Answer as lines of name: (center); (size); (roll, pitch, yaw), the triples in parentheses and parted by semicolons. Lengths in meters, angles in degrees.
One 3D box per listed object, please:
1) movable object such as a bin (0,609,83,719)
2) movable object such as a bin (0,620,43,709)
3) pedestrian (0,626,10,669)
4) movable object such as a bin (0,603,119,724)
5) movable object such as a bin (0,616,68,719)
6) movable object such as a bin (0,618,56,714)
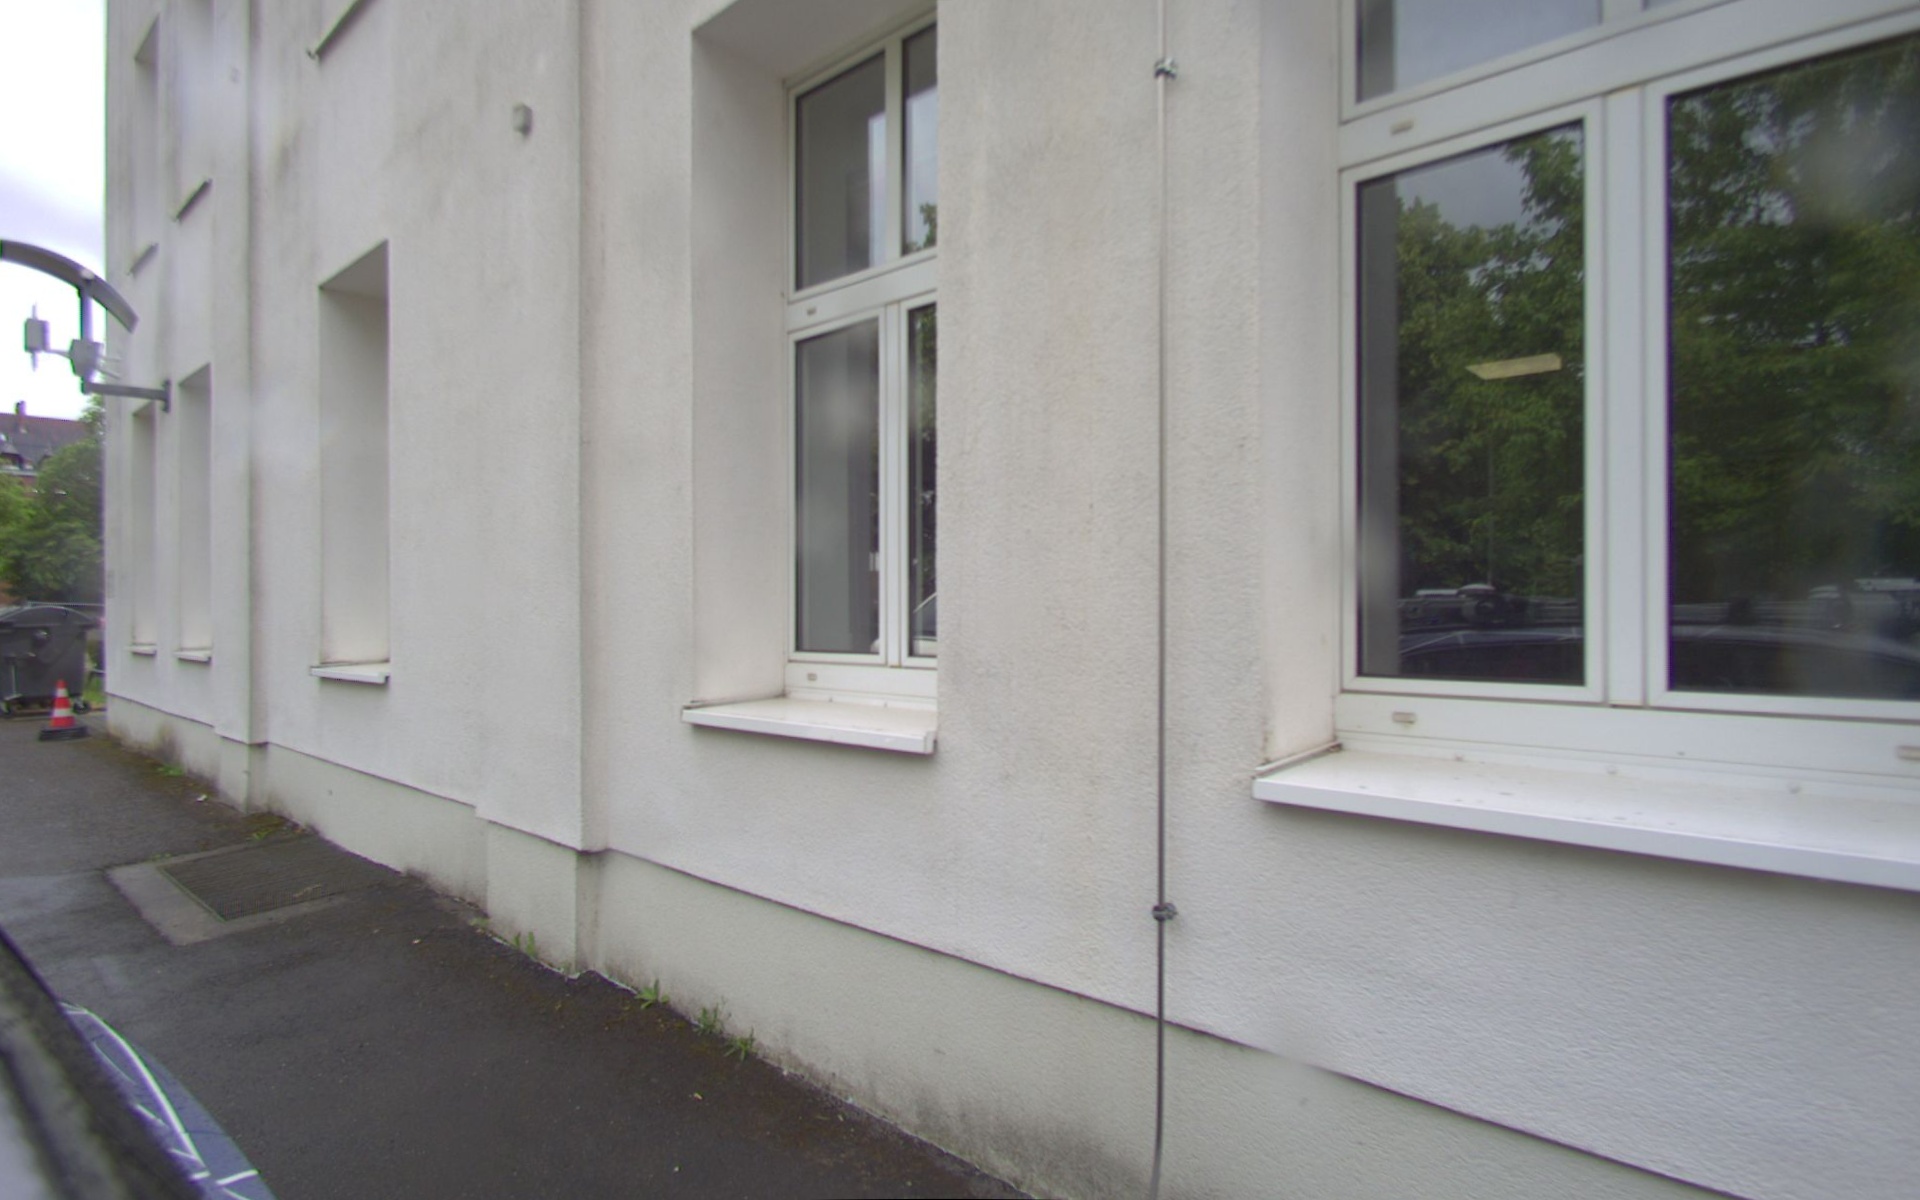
movable object such as a bin: (-13.541, 0.910, 14.456); (1.365, 1.482, 1.345); (-3, -1, 41)
movable object such as a bin: (-16.821, 1.123, 17.389); (1.560, 1.482, 1.394); (-3, -1, 41)
pedestrian: (-37.725, 1.846, 39.482); (0.764, 1.686, 0.715); (0, -2, -22)
movable object such as a bin: (-12.157, 0.810, 13.409); (1.365, 1.482, 1.345); (-3, -1, 41)
movable object such as a bin: (-14.576, 1.023, 15.386); (1.351, 1.482, 1.345); (-3, -1, 41)
movable object such as a bin: (-15.647, 1.072, 16.372); (1.464, 1.482, 1.345); (-3, -1, 41)
